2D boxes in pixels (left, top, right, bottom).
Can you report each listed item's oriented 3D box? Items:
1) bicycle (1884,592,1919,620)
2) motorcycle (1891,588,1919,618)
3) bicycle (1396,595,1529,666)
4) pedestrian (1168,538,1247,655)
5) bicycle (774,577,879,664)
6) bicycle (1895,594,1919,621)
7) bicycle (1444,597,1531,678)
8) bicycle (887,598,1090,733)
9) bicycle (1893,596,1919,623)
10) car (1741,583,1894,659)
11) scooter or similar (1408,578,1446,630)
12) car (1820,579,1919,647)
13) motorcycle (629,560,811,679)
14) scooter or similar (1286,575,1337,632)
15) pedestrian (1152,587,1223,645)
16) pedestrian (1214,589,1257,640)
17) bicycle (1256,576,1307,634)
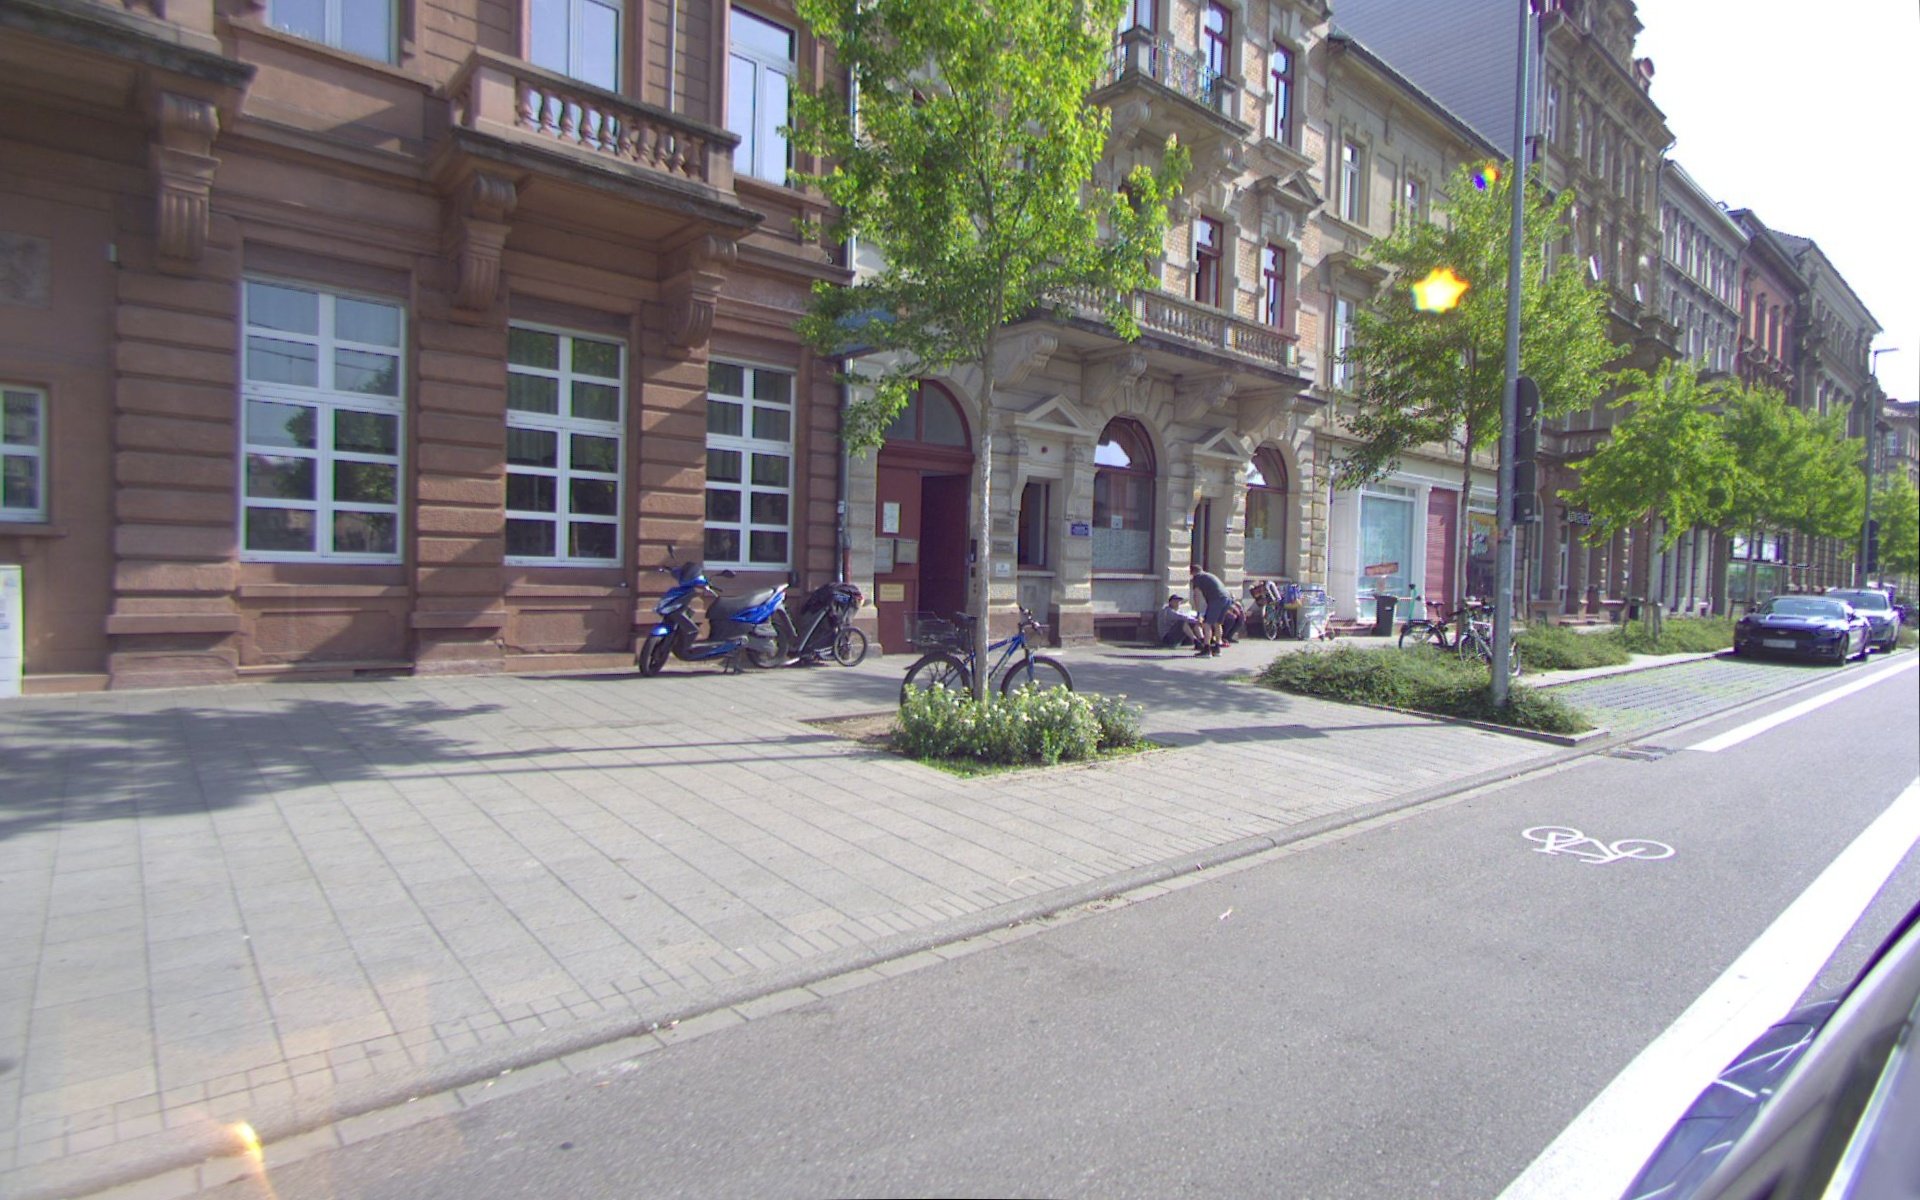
[{"bbox_3d":[40.616,0.280,43.084,1.808,1.109,0.661,5,4,44],"label":"bicycle"},{"bbox_3d":[43.611,0.167,45.804,2.011,1.302,0.702,4,2,14],"label":"motorcycle"},{"bbox_3d":[7.950,0.480,16.034,1.842,1.095,0.455,0,3,1],"label":"bicycle"},{"bbox_3d":[3.849,-0.070,15.730,0.780,1.717,0.824,0,4,-45],"label":"pedestrian"},{"bbox_3d":[-1.639,0.236,12.520,1.231,1.031,0.398,0,2,-36],"label":"bicycle"},{"bbox_3d":[39.948,0.340,41.863,0.366,1.066,1.788,0,4,-42],"label":"bicycle"},{"bbox_3d":[7.779,0.522,14.888,1.795,1.107,0.493,0,2,-41],"label":"bicycle"},{"bbox_3d":[0.260,0.556,8.841,1.678,1.073,0.507,2,3,-26],"label":"bicycle"},{"bbox_3d":[39.648,0.422,41.608,0.366,1.066,1.788,0,4,-42],"label":"bicycle"},{"bbox_3d":[18.818,0.413,22.139,4.630,1.413,1.741,0,3,-40],"label":"car"},{"bbox_3d":[10.754,0.089,23.291,1.068,1.148,0.290,0,1,-35],"label":"scooter or similar"},{"bbox_3d":[24.533,0.306,27.192,4.178,1.607,1.771,0,3,-45],"label":"car"},{"bbox_3d":[-2.589,0.183,11.057,1.911,1.189,0.464,0,4,-41],"label":"motorcycle"},{"bbox_3d":[7.230,0.068,20.813,0.915,1.139,0.608,0,2,-41],"label":"scooter or similar"},{"bbox_3d":[3.814,0.256,16.996,0.699,0.887,0.878,0,4,-44],"label":"pedestrian"},{"bbox_3d":[4.959,0.250,18.220,0.570,0.865,0.450,6,4,44],"label":"pedestrian"},{"bbox_3d":[6.355,0.092,19.963,0.450,1.097,1.428,2,2,39],"label":"bicycle"}]
